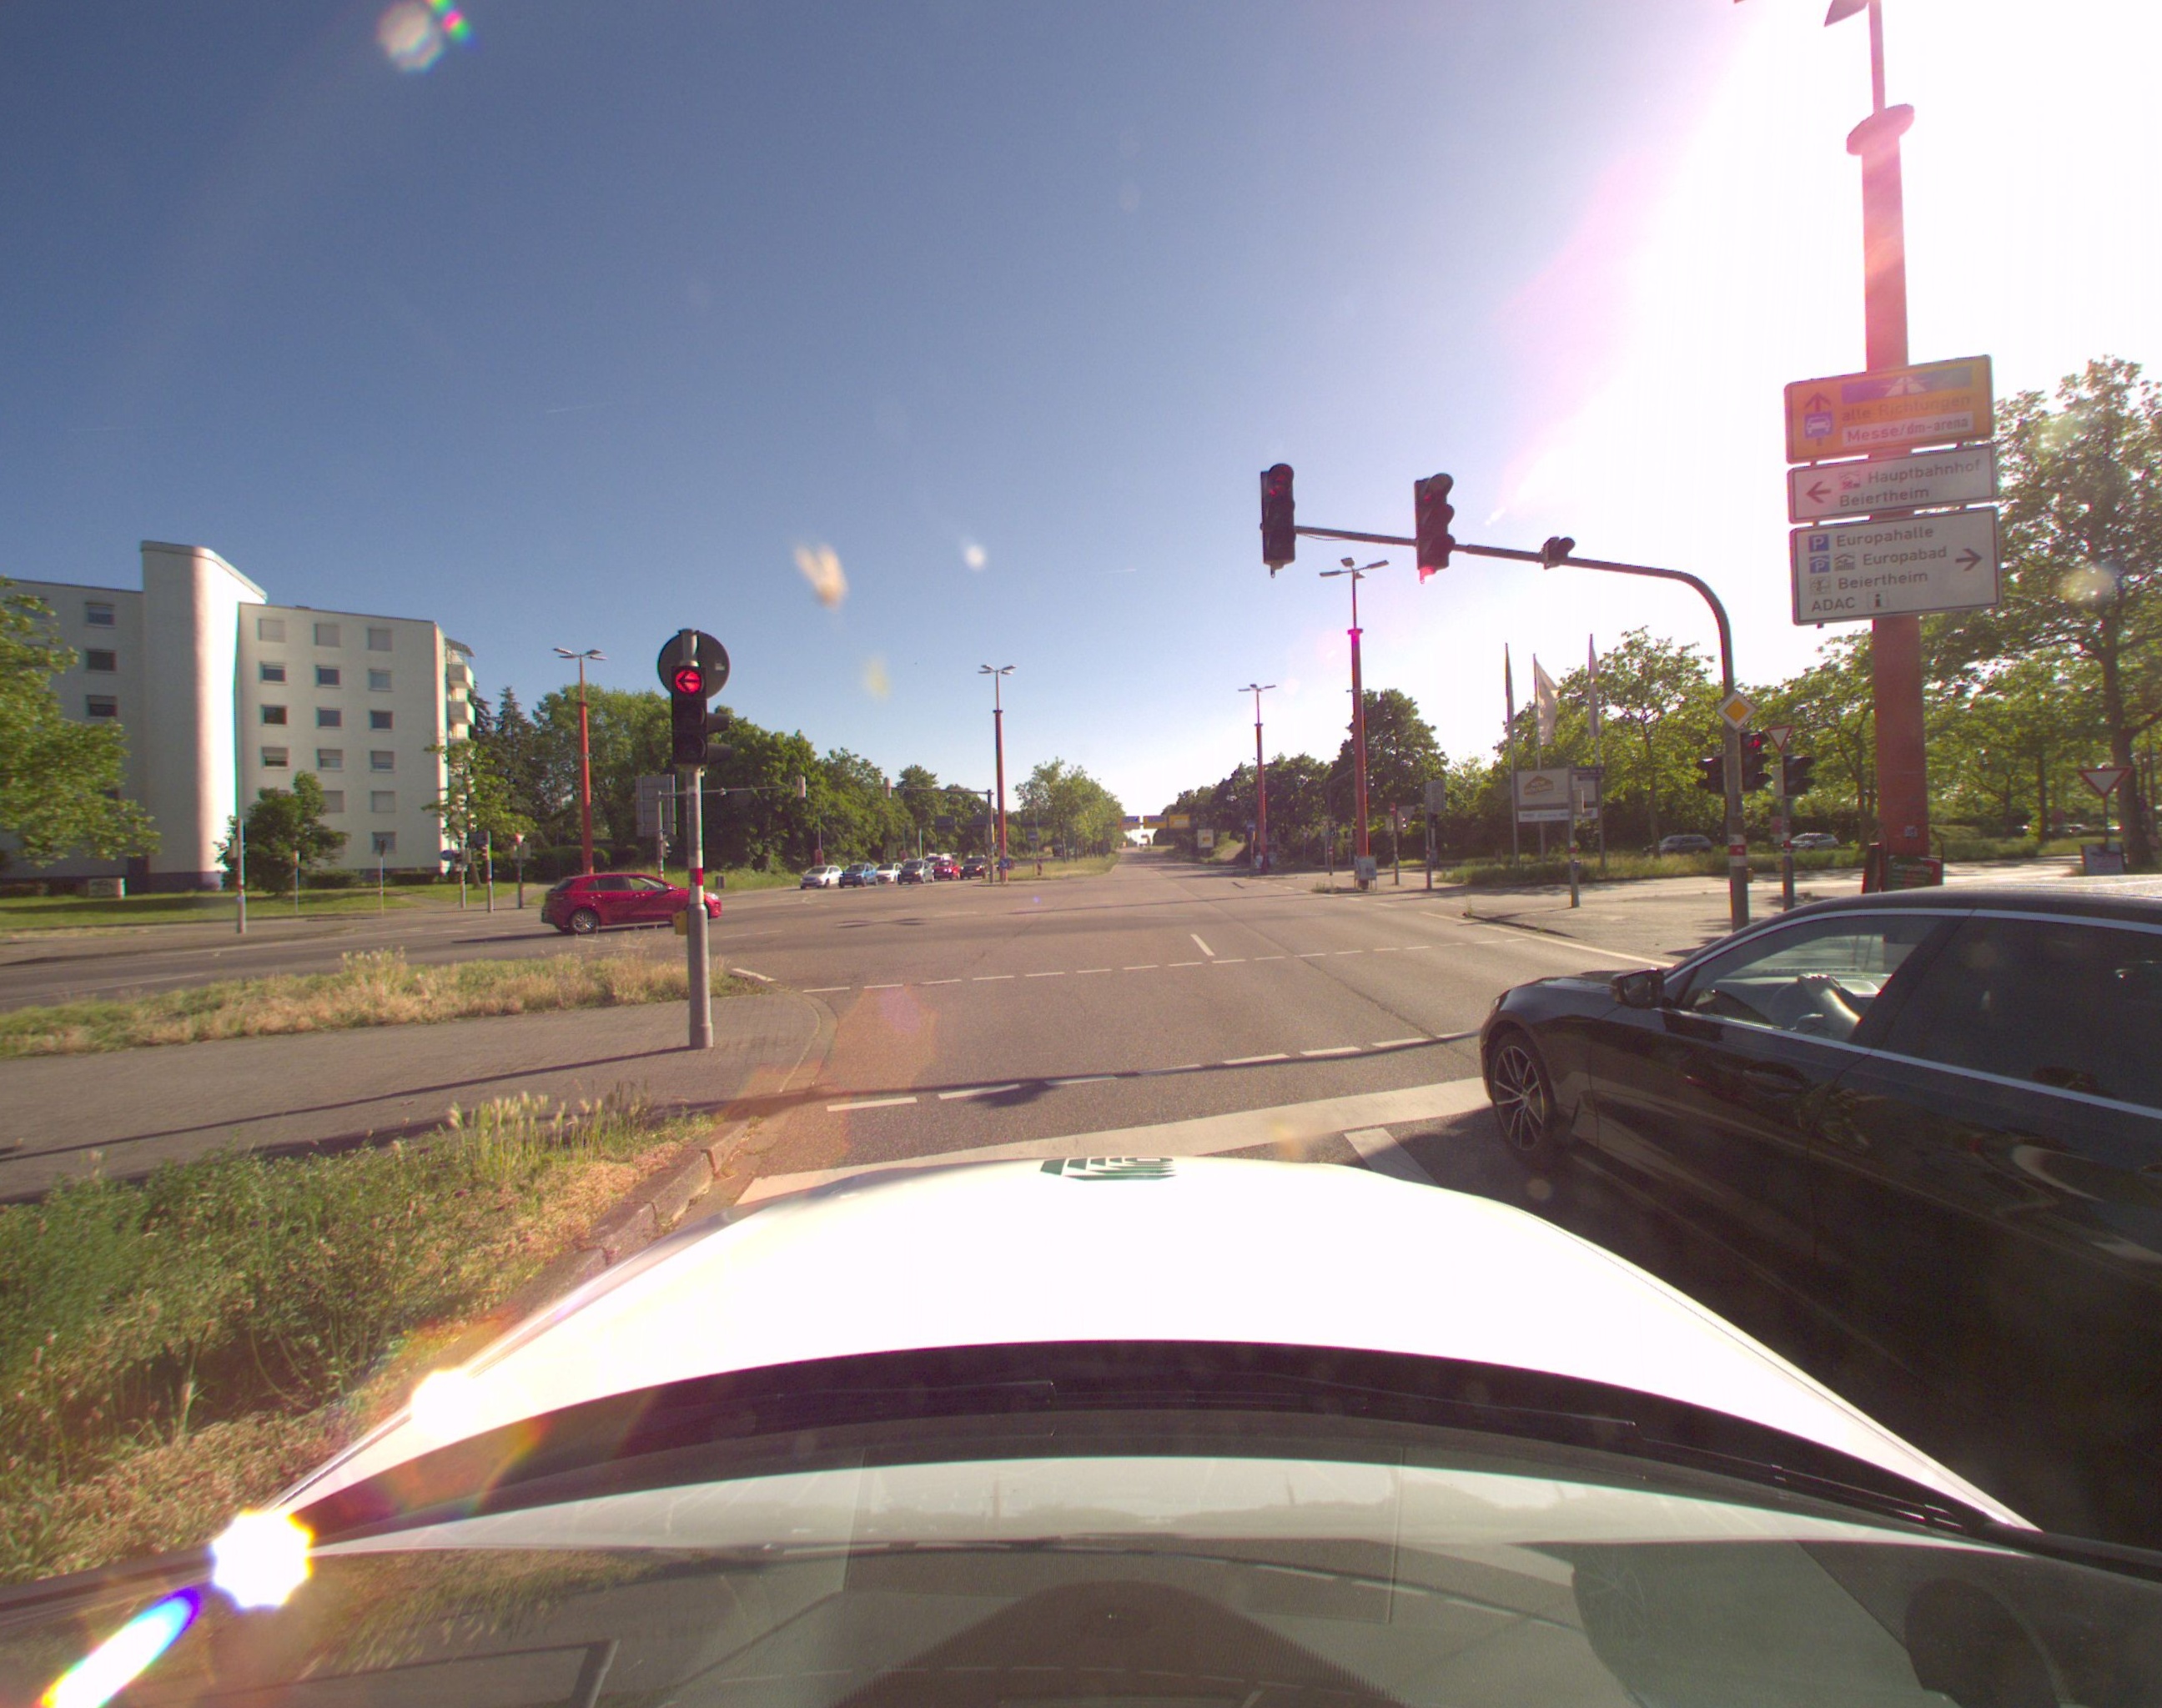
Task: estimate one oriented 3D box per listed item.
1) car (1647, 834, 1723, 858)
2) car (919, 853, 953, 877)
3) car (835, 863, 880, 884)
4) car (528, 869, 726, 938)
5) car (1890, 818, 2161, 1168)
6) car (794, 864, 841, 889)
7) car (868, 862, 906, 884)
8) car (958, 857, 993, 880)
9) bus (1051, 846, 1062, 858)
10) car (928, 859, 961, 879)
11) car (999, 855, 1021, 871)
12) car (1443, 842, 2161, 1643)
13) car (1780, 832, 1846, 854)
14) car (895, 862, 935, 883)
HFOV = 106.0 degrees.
[{"bbox_3d":[40.763,-0.541,54.976,4.320,1.485,1.777,-2,0,-13],"label":"car"},{"bbox_3d":[-12.652,0.943,71.265,1.886,2.026,5.224,-1,0,1],"label":"car"},{"bbox_3d":[-14.083,1.206,51.429,1.733,1.243,3.613,-2,0,1],"label":"car"},{"bbox_3d":[-11.455,1.185,20.721,4.089,1.435,1.665,-2,0,-45],"label":"car"},{"bbox_3d":[5.677,0.600,2.873,1.732,1.578,4.032,-2,0,3],"label":"car"},{"bbox_3d":[-17.433,1.450,54.126,1.754,1.532,3.936,-2,0,1],"label":"car"},{"bbox_3d":[-13.666,1.313,57.539,1.733,1.411,3.613,-2,0,1],"label":"car"},{"bbox_3d":[-7.413,1.007,57.653,1.812,1.508,4.002,-2,0,2],"label":"car"},{"bbox_3d":[-7.101,-0.509,236.770,2.482,3.238,10.004,-2,0,2],"label":"bus"},{"bbox_3d":[-9.891,1.082,59.182,1.733,1.362,3.613,-2,0,1],"label":"car"},{"bbox_3d":[-7.805,0.984,89.818,1.812,1.629,4.002,-2,0,2],"label":"car"},{"bbox_3d":[2.896,0.687,2.385,1.862,1.398,4.446,-2,0,3],"label":"car"},{"bbox_3d":[52.734,-0.783,58.690,3.989,1.467,1.675,-2,0,-15],"label":"car"},{"bbox_3d":[-10.599,1.183,52.317,1.733,1.243,3.613,-2,0,1],"label":"car"}]
